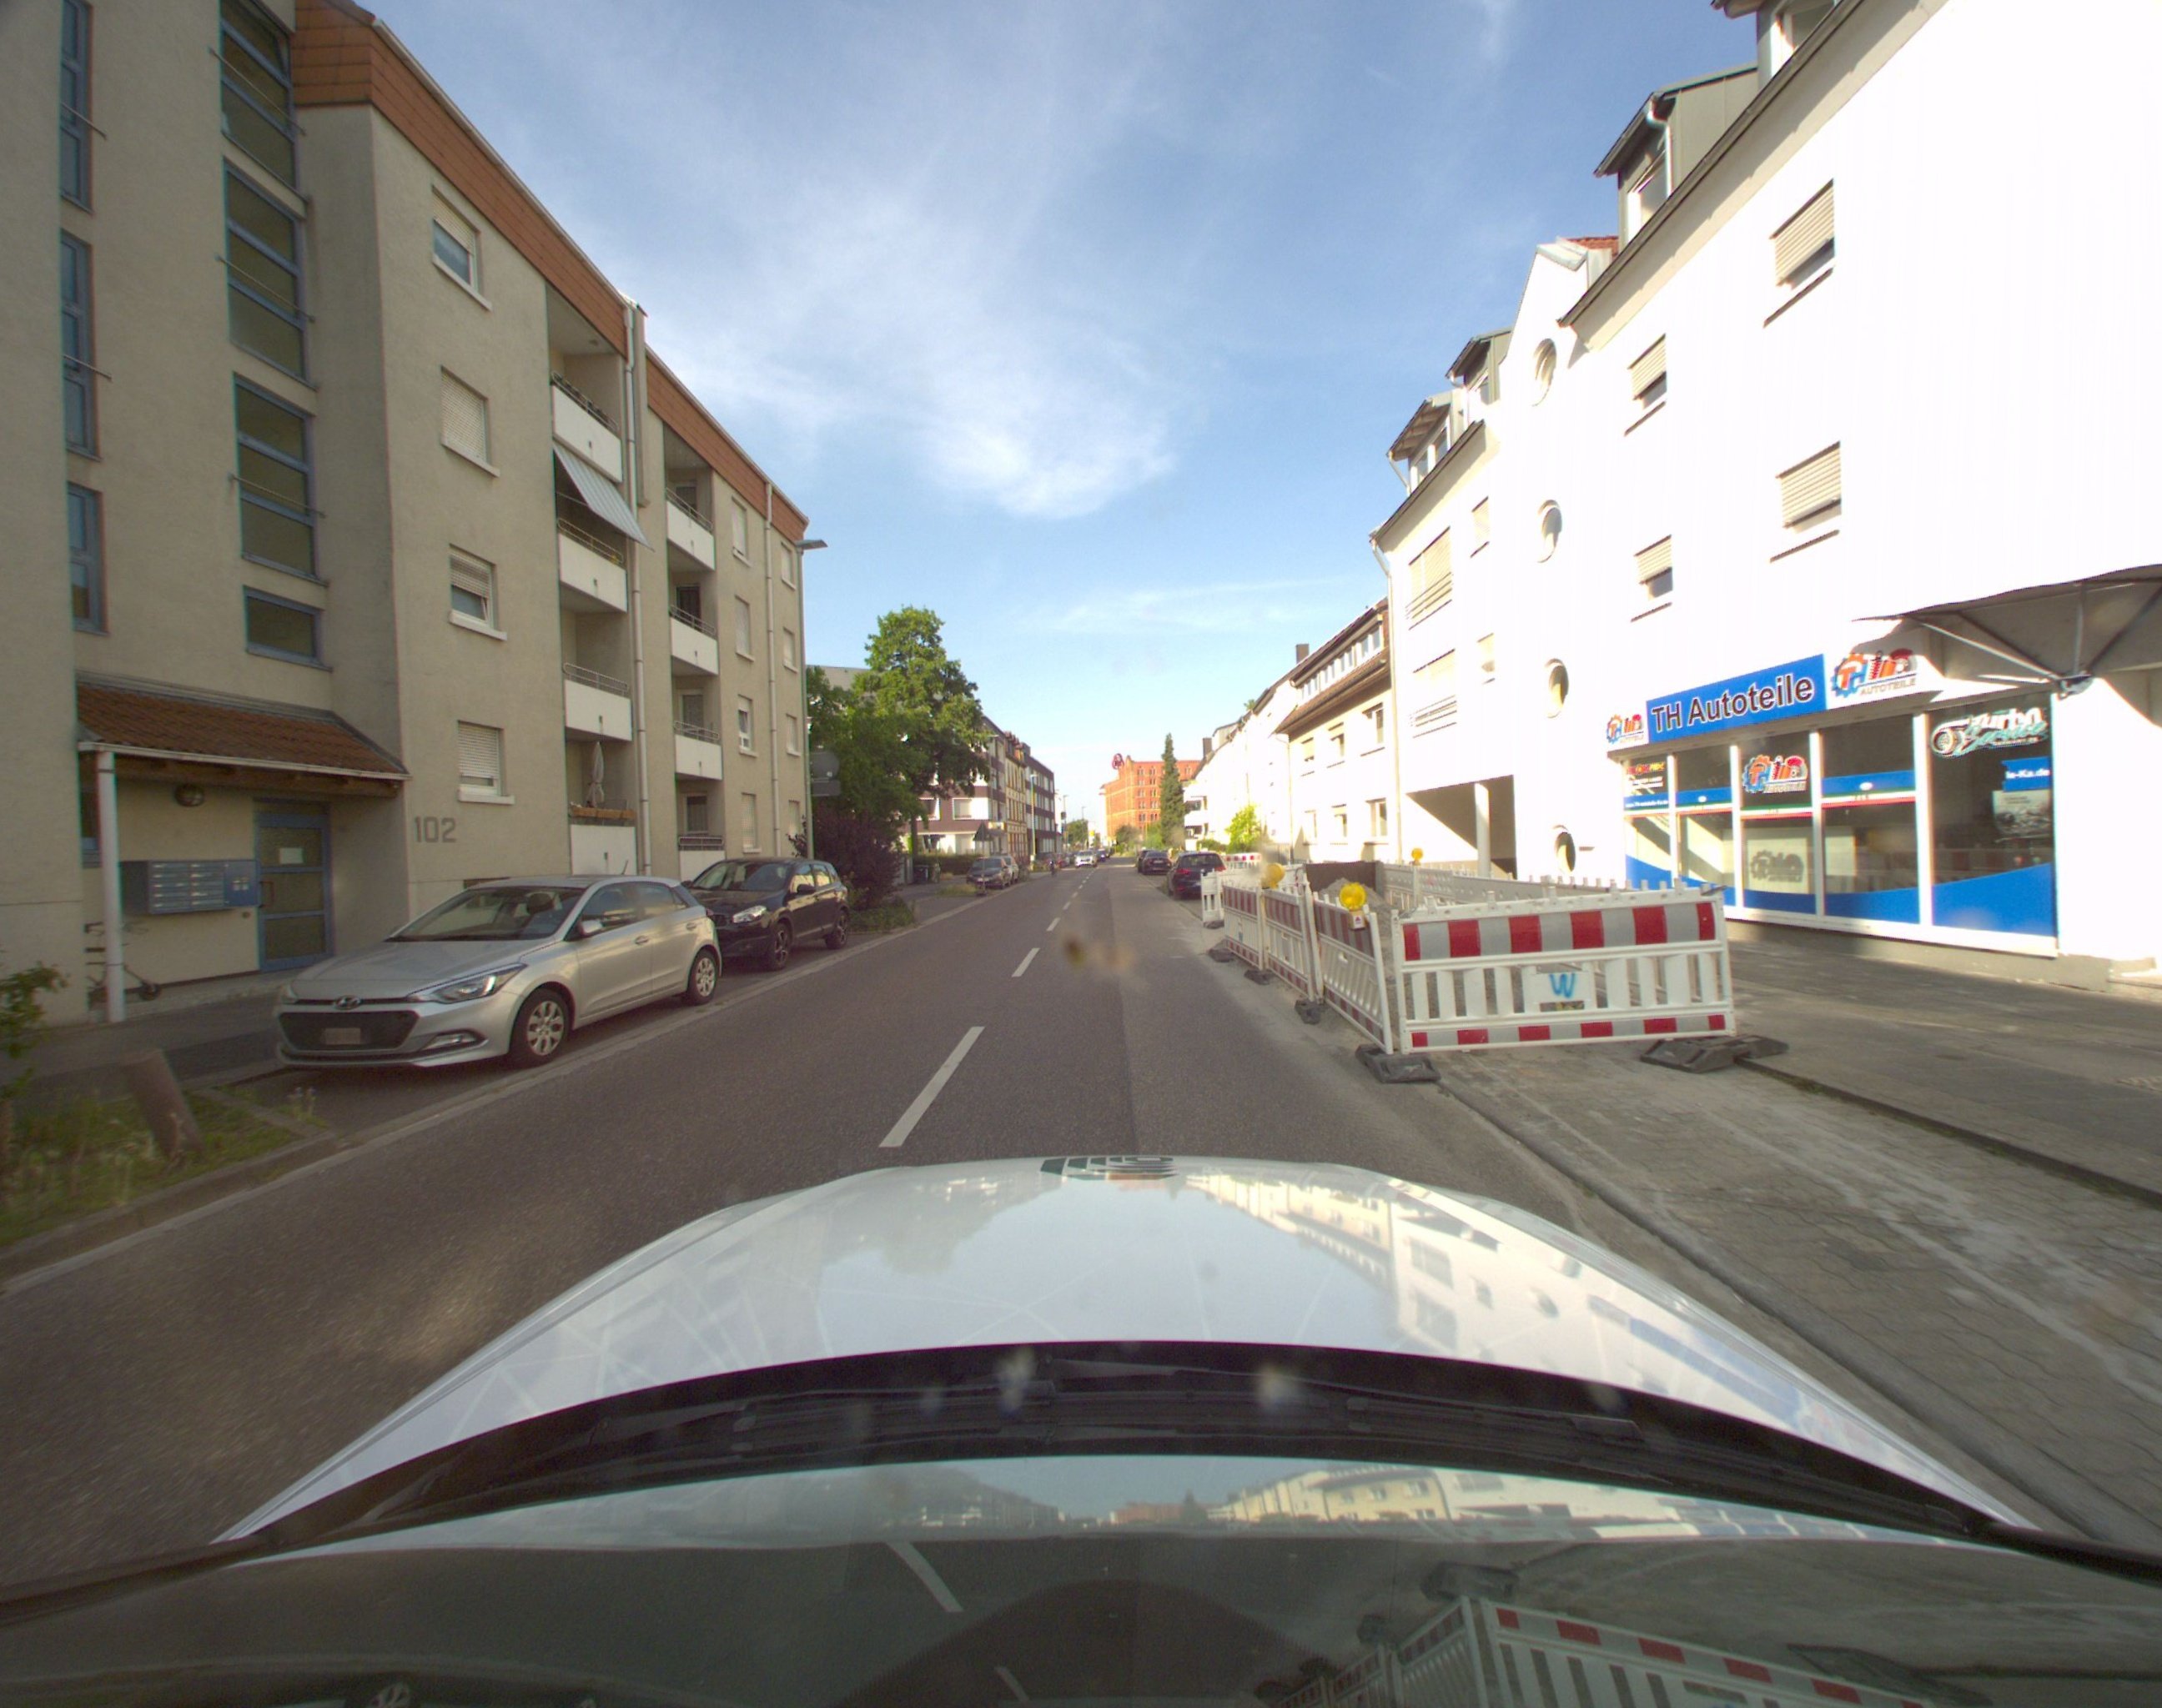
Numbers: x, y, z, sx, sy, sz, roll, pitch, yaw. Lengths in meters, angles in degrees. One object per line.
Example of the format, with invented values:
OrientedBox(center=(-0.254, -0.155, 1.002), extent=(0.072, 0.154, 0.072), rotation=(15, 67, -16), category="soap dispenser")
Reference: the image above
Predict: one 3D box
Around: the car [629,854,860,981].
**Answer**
OrientedBox(center=(-4.990, 0.826, 12.826), extent=(1.680, 1.603, 4.371), rotation=(-1, 0, 1), category="car")

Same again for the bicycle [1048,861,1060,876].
OrientedBox(center=(-1.753, 0.924, 53.457), extent=(0.606, 0.942, 1.813), rotation=(-2, 0, 3), category="bicycle")

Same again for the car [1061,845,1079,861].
OrientedBox(center=(-1.410, -0.101, 102.170), extent=(1.986, 1.881, 4.002), rotation=(-2, 0, 2), category="car")

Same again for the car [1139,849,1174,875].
OrientedBox(center=(4.659, 0.449, 50.460), extent=(1.852, 1.472, 4.001), rotation=(-3, 0, 1), category="car")

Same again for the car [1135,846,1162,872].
OrientedBox(center=(4.602, 0.313, 55.699), extent=(1.595, 1.646, 3.686), rotation=(-2, 0, 2), category="car")

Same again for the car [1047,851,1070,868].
OrientedBox(center=(-2.062, 0.470, 75.910), extent=(1.833, 1.464, 3.587), rotation=(-2, 0, 2), category="car")

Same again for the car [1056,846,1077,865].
OrientedBox(center=(-1.612, 0.158, 91.697), extent=(1.985, 1.911, 3.692), rotation=(-2, 0, 3), category="car")

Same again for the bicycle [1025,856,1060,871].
OrientedBox(center=(-3.172, 0.800, 67.882), extent=(2.762, 1.144, 1.144), rotation=(-2, 0, 2), category="bicycle")

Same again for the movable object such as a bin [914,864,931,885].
OrientedBox(center=(-8.505, 1.093, 43.704), extent=(0.749, 1.040, 0.817), rotation=(1, 0, 2), category="movable object such as a bin")

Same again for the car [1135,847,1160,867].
OrientedBox(center=(5.494, 0.194, 67.848), extent=(1.757, 1.526, 4.002), rotation=(-3, 0, 2), category="car")

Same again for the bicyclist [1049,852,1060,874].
OrientedBox(center=(-1.757, 0.589, 53.550), extent=(0.588, 1.442, 0.751), rotation=(-2, 0, 3), category="bicyclist")

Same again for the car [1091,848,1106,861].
OrientedBox(center=(2.218, 0.054, 102.264), extent=(1.757, 1.616, 4.002), rotation=(-3, 0, 2), category="car")

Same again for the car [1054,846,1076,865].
OrientedBox(center=(-1.650, 0.168, 86.577), extent=(1.985, 1.835, 3.692), rotation=(-2, 0, 3), category="car")

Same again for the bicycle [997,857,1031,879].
OrientedBox(center=(-4.015, 0.849, 49.227), extent=(1.997, 1.217, 0.707), rotation=(-2, 0, -4), category="bicycle")

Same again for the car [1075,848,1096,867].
OrientedBox(center=(0.411, 0.322, 74.229), extent=(1.757, 1.616, 4.002), rotation=(-3, 0, 2), category="car")

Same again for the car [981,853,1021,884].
OrientedBox(center=(-4.234, 0.728, 43.417), extent=(1.670, 1.501, 4.000), rotation=(-2, 0, 0), category="car")

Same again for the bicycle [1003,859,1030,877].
OrientedBox(center=(-4.020, 0.883, 50.872), extent=(1.581, 1.041, 0.707), rotation=(-2, 0, -4), category="bicycle")

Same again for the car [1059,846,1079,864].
OrientedBox(center=(-1.382, 0.112, 95.772), extent=(1.985, 1.907, 4.003), rotation=(-2, 0, 3), category="car")

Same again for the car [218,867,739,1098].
OrientedBox(center=(-4.990, 0.912, 7.636), extent=(1.679, 1.454, 4.142), rotation=(-1, 0, 2), category="car")

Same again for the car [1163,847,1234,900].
OrientedBox(center=(3.673, 0.570, 26.015), extent=(1.822, 1.482, 3.946), rotation=(-3, 0, 3), category="car")

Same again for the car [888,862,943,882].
OrientedBox(center=(-11.708, 1.261, 57.768), extent=(3.469, 1.288, 1.648), rotation=(-2, 0, -30), category="car")

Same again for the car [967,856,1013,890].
OrientedBox(center=(-4.158, 0.829, 37.570), extent=(1.568, 1.420, 3.805), rotation=(-1, 0, 1), category="car")

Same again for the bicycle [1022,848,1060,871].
OrientedBox(center=(-3.253, 0.439, 66.110), extent=(2.906, 1.777, 1.203), rotation=(-2, 0, 2), category="bicycle")
